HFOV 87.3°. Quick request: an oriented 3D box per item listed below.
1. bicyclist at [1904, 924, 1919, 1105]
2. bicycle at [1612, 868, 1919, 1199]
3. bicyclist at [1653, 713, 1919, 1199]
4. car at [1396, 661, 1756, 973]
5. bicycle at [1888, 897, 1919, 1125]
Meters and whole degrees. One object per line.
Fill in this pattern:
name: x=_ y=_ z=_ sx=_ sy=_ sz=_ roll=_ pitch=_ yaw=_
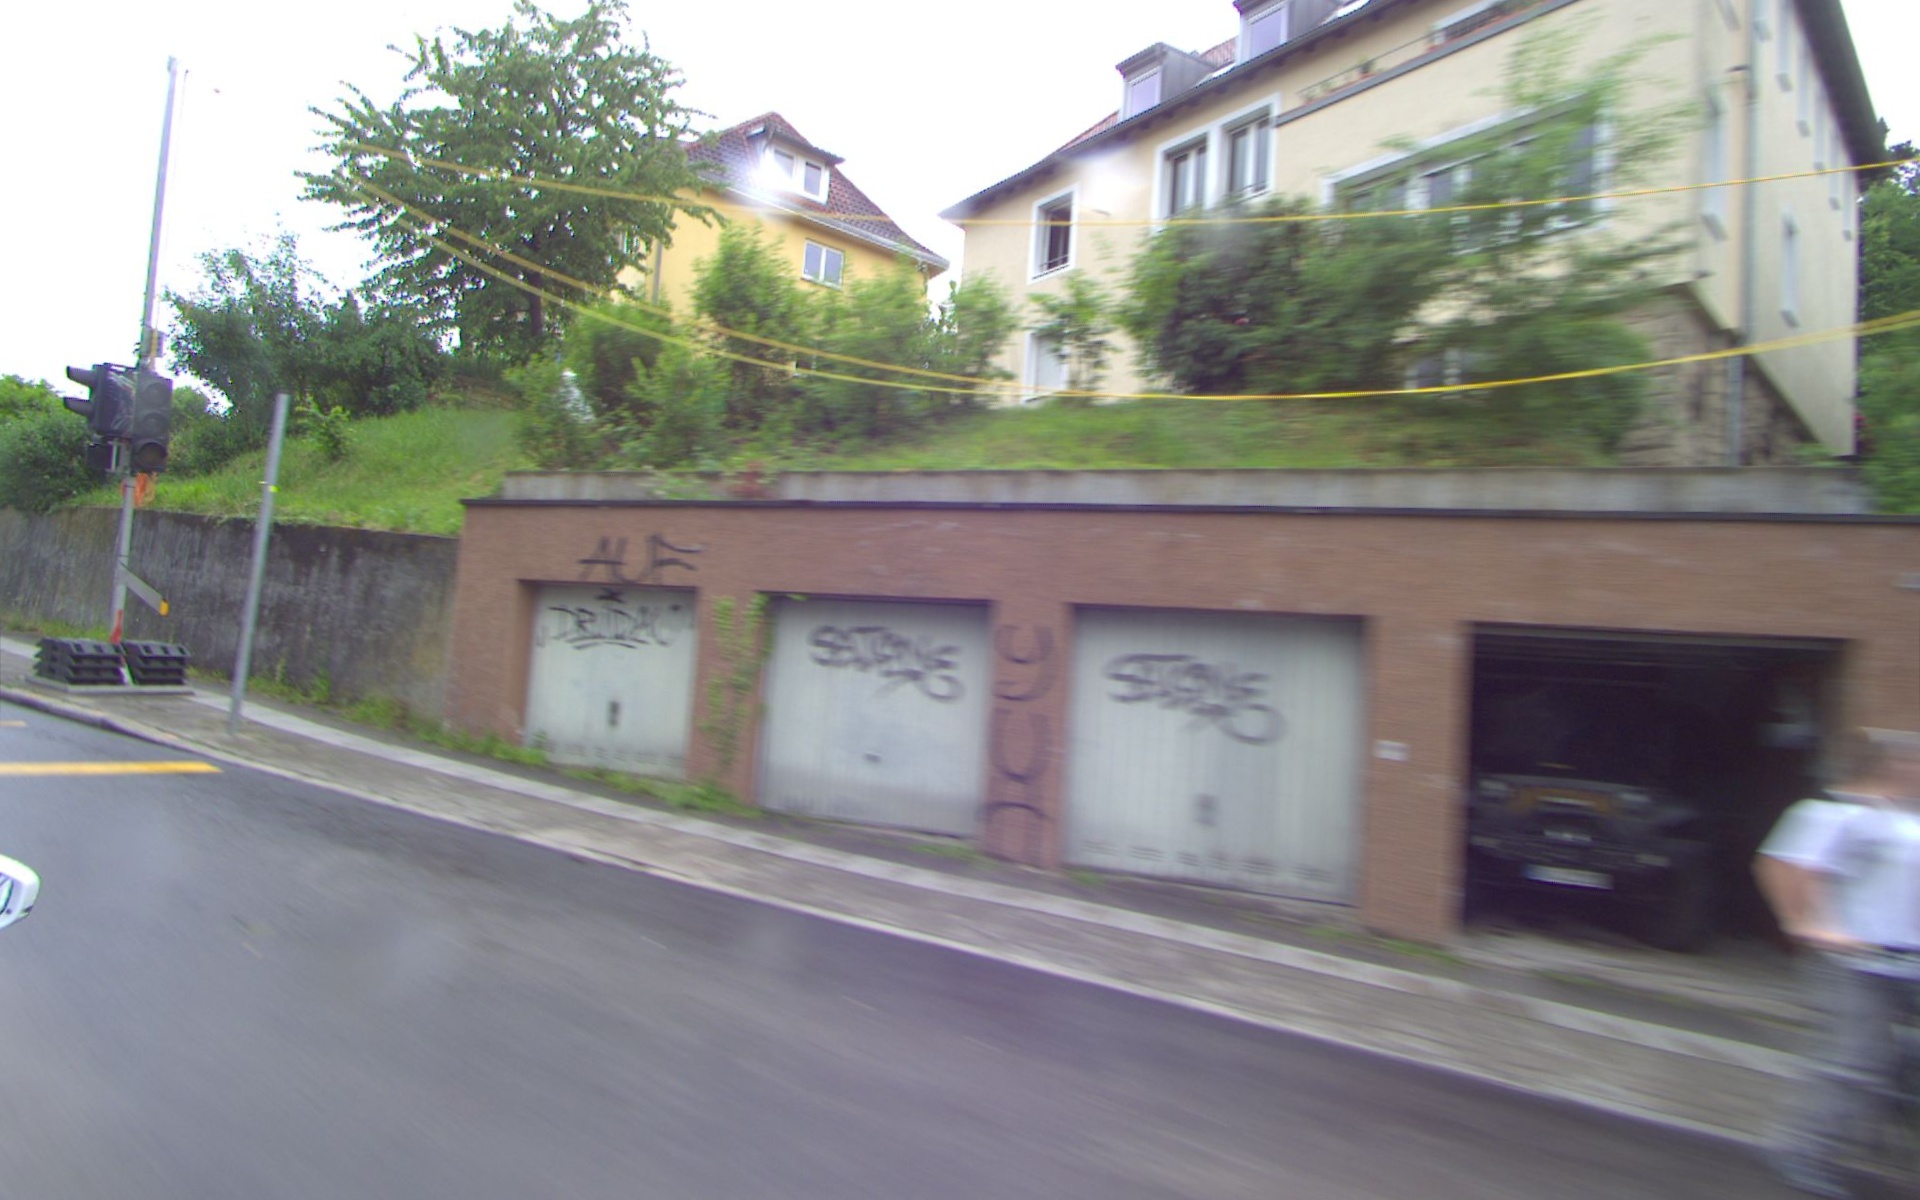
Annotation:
bicyclist: x=5.347 y=1.629 z=4.819 sx=1.068 sy=1.748 sz=0.924 roll=9 pitch=-3 yaw=-36
bicycle: x=3.475 y=1.768 z=3.850 sx=0.915 sy=0.992 sz=1.888 roll=7 pitch=-3 yaw=11
bicyclist: x=3.521 y=1.380 z=3.864 sx=0.915 sy=1.748 sz=1.079 roll=7 pitch=-2 yaw=11
car: x=5.261 y=1.714 z=9.266 sx=1.781 sy=2.035 sz=4.397 roll=2 pitch=-5 yaw=18
bicycle: x=5.331 y=2.021 z=4.824 sx=1.815 sy=0.992 sz=0.924 roll=10 pitch=-3 yaw=-36
